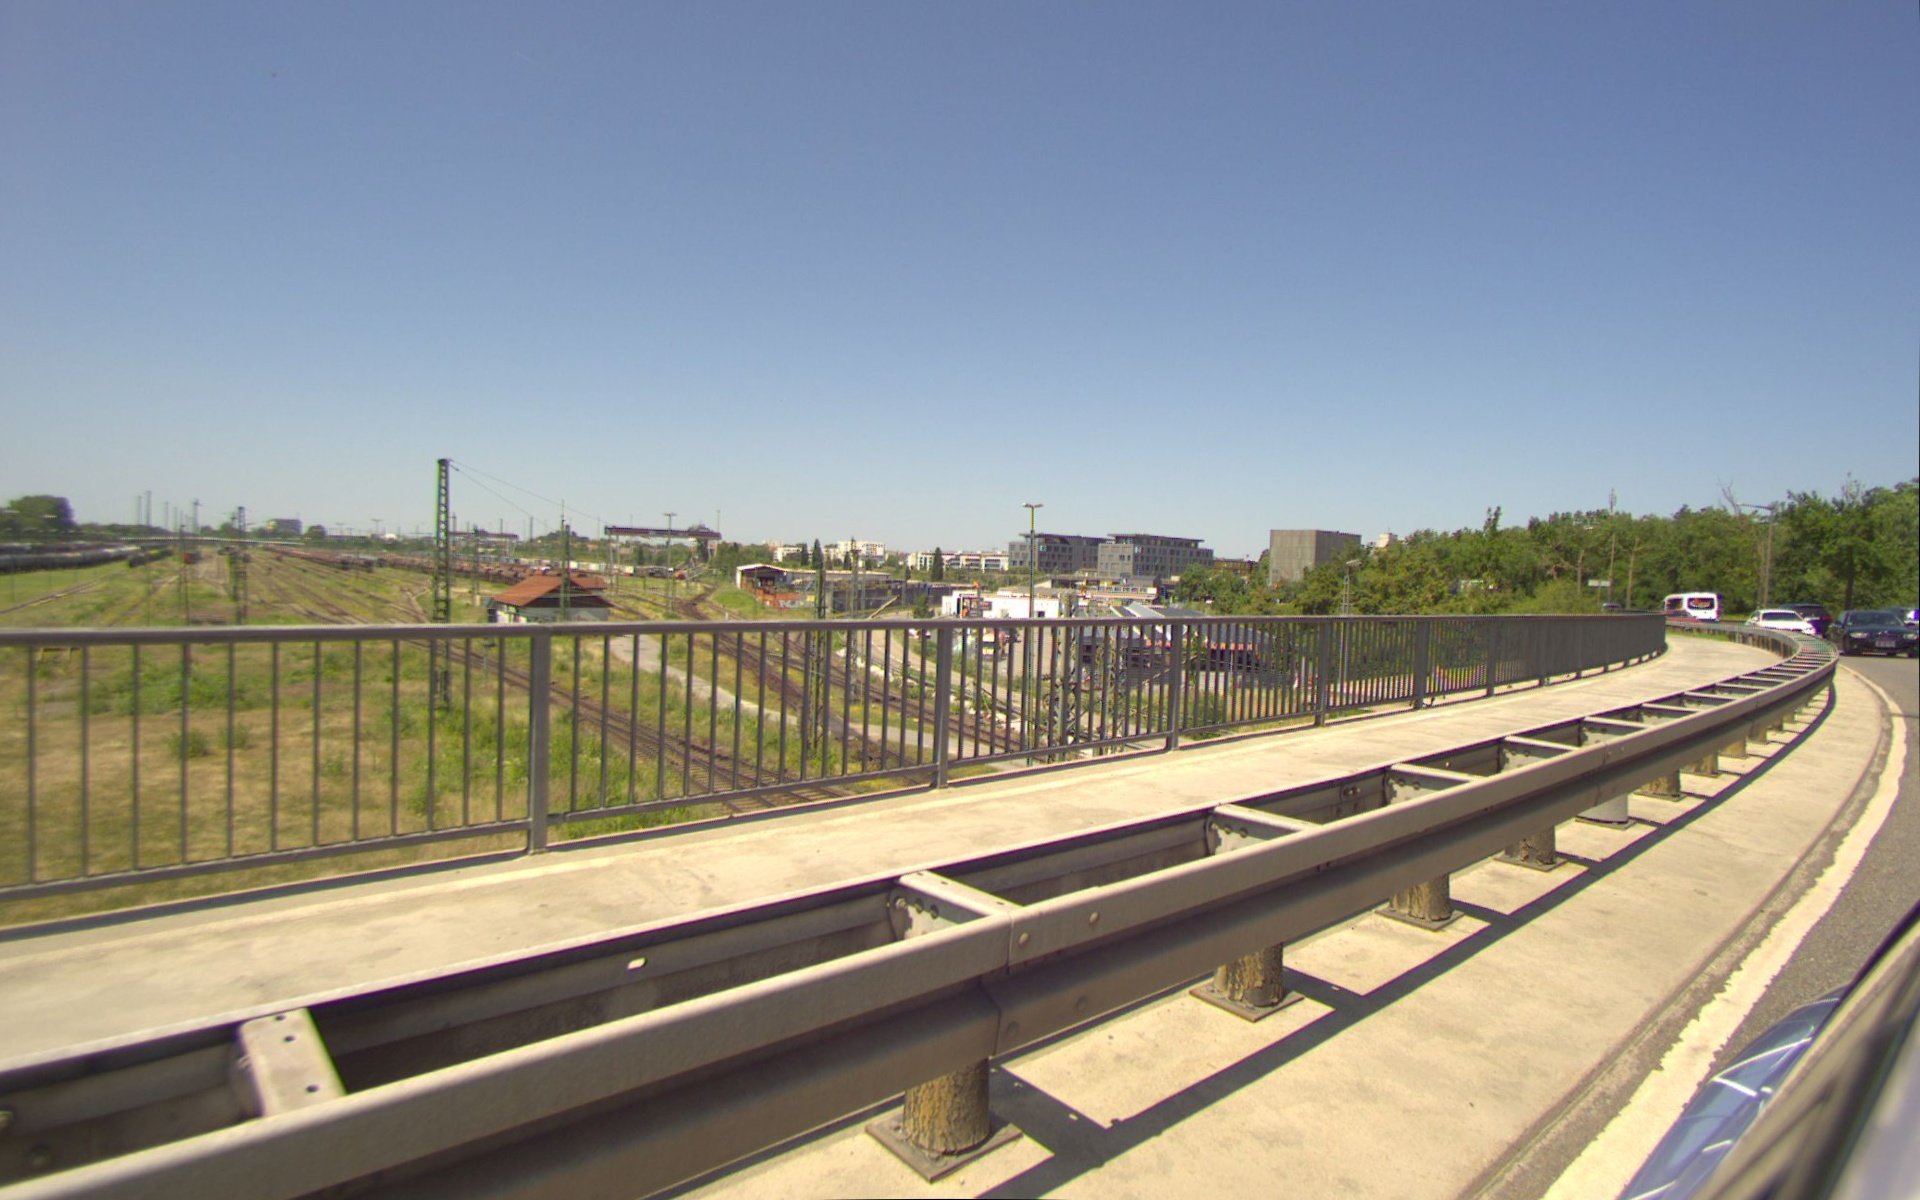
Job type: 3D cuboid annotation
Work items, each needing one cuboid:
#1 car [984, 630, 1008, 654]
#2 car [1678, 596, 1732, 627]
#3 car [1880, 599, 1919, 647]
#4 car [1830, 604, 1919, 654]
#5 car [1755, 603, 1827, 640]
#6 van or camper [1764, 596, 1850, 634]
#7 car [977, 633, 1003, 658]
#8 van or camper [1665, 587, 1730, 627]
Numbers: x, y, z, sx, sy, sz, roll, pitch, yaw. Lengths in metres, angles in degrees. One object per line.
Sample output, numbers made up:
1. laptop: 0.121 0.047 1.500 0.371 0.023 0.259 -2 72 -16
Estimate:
1. car: 3.998 4.570 111.307 2.115 2.382 4.919 -4 -1 6
2. car: 44.157 0.637 60.082 1.884 1.675 4.218 1 2 27
3. car: 37.022 0.851 38.534 1.884 1.675 4.217 1 2 28
4. car: 28.105 0.839 30.897 1.557 1.434 4.078 0 0 30
5. car: 34.555 0.871 42.165 1.803 1.446 3.674 0 0 31
6. van or camper: 43.650 0.727 52.276 1.977 1.782 4.664 1 1 22
7. car: 3.153 4.652 104.407 2.116 2.382 4.919 -4 -1 7
8. van or camper: 50.436 0.461 69.373 2.029 2.570 5.844 -1 0 20
